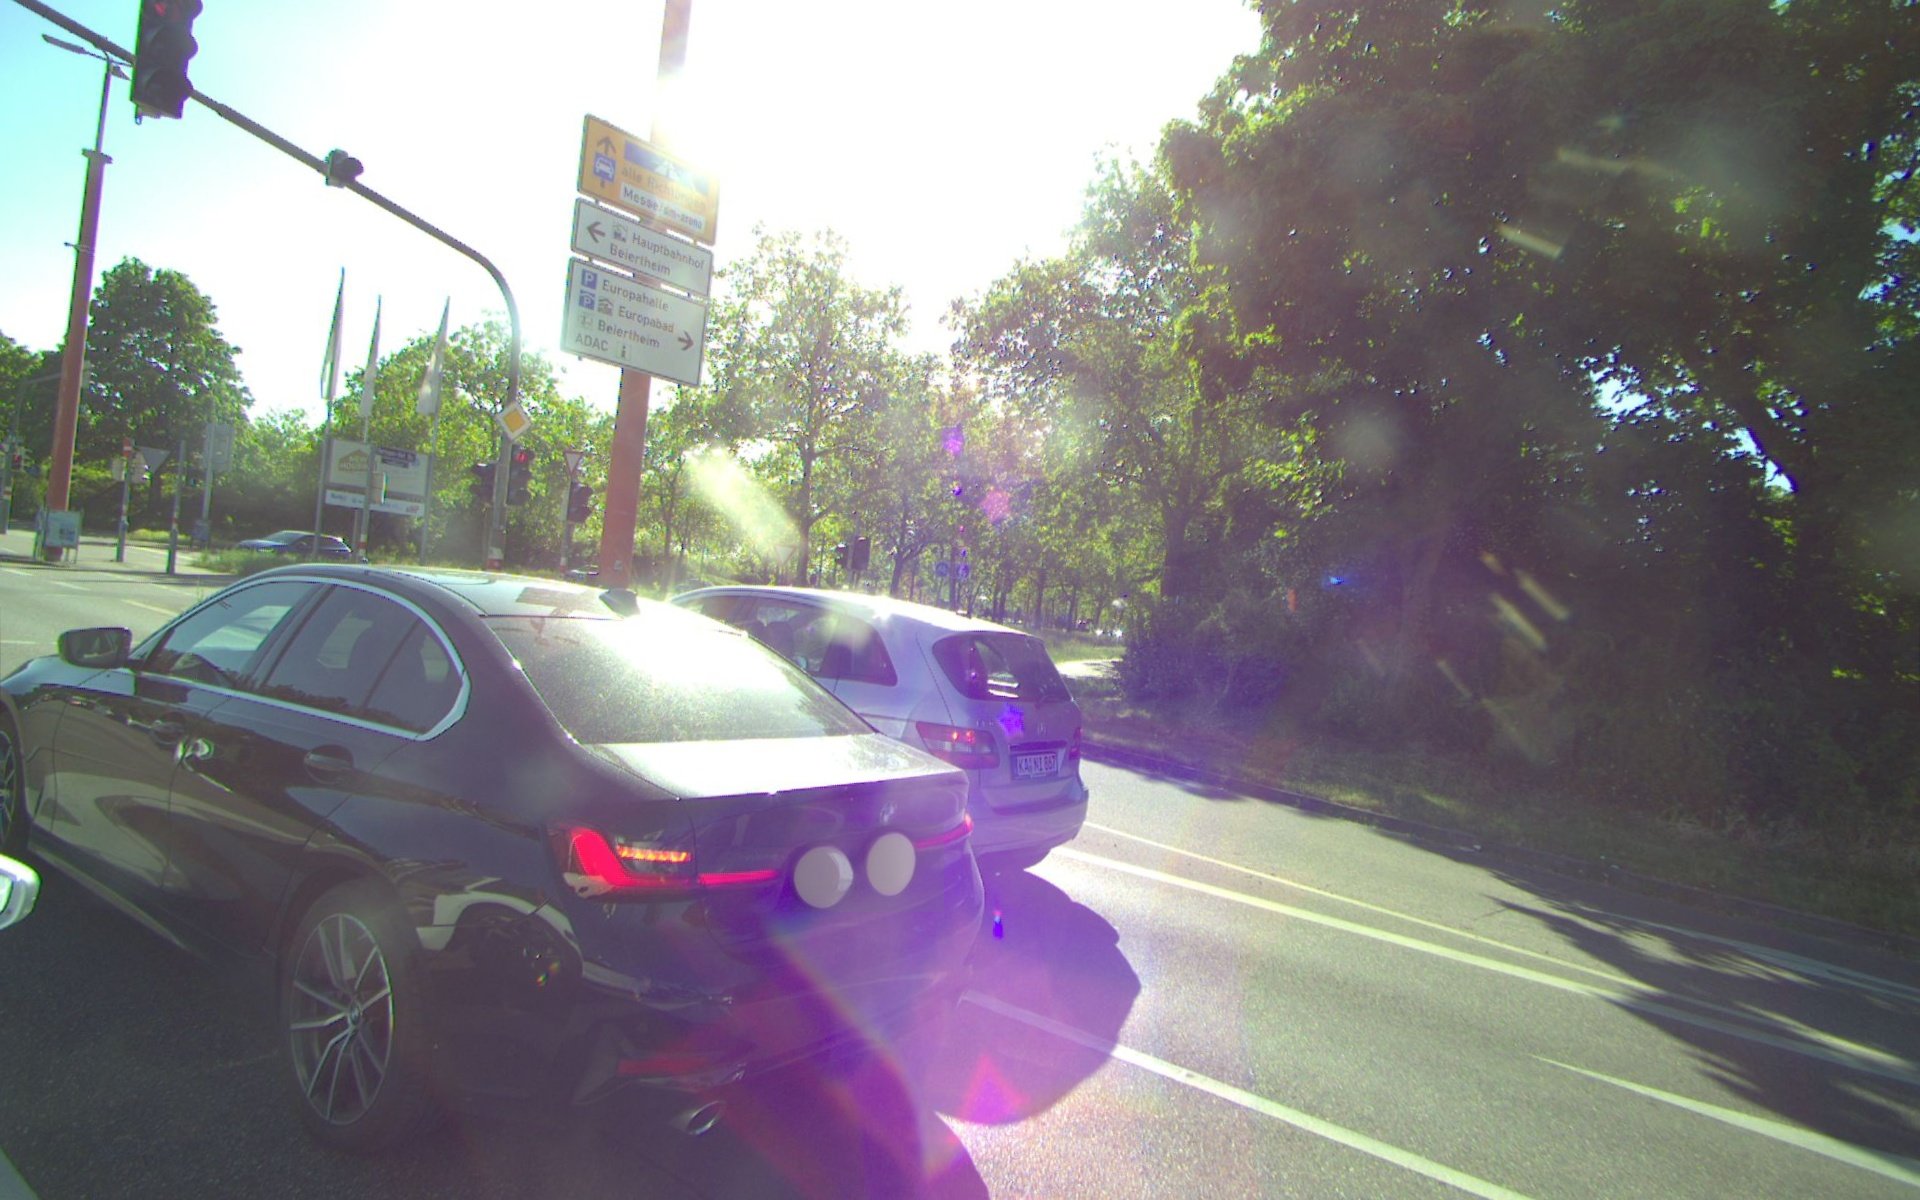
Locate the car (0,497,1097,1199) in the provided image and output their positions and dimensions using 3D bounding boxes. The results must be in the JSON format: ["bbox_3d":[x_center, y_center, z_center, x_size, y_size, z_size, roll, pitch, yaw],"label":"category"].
[{"bbox_3d":[-1.961,0.531,3.883,4.403,1.411,1.996,7,0,32],"label":"car"}]

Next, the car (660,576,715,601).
[{"bbox_3d":[-22.760,-0.936,84.049,2.126,1.592,4.280,7,-1,23],"label":"car"}]

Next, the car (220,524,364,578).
[{"bbox_3d":[-25.089,-1.810,37.984,1.848,1.445,4.283,7,-1,14],"label":"car"}]

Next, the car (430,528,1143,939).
[{"bbox_3d":[-1.283,0.643,6.791,4.403,1.706,1.970,7,-1,32],"label":"car"}]

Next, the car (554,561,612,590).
[{"bbox_3d":[-26.253,-1.704,70.222,2.126,1.592,4.583,7,-1,1],"label":"car"}]
